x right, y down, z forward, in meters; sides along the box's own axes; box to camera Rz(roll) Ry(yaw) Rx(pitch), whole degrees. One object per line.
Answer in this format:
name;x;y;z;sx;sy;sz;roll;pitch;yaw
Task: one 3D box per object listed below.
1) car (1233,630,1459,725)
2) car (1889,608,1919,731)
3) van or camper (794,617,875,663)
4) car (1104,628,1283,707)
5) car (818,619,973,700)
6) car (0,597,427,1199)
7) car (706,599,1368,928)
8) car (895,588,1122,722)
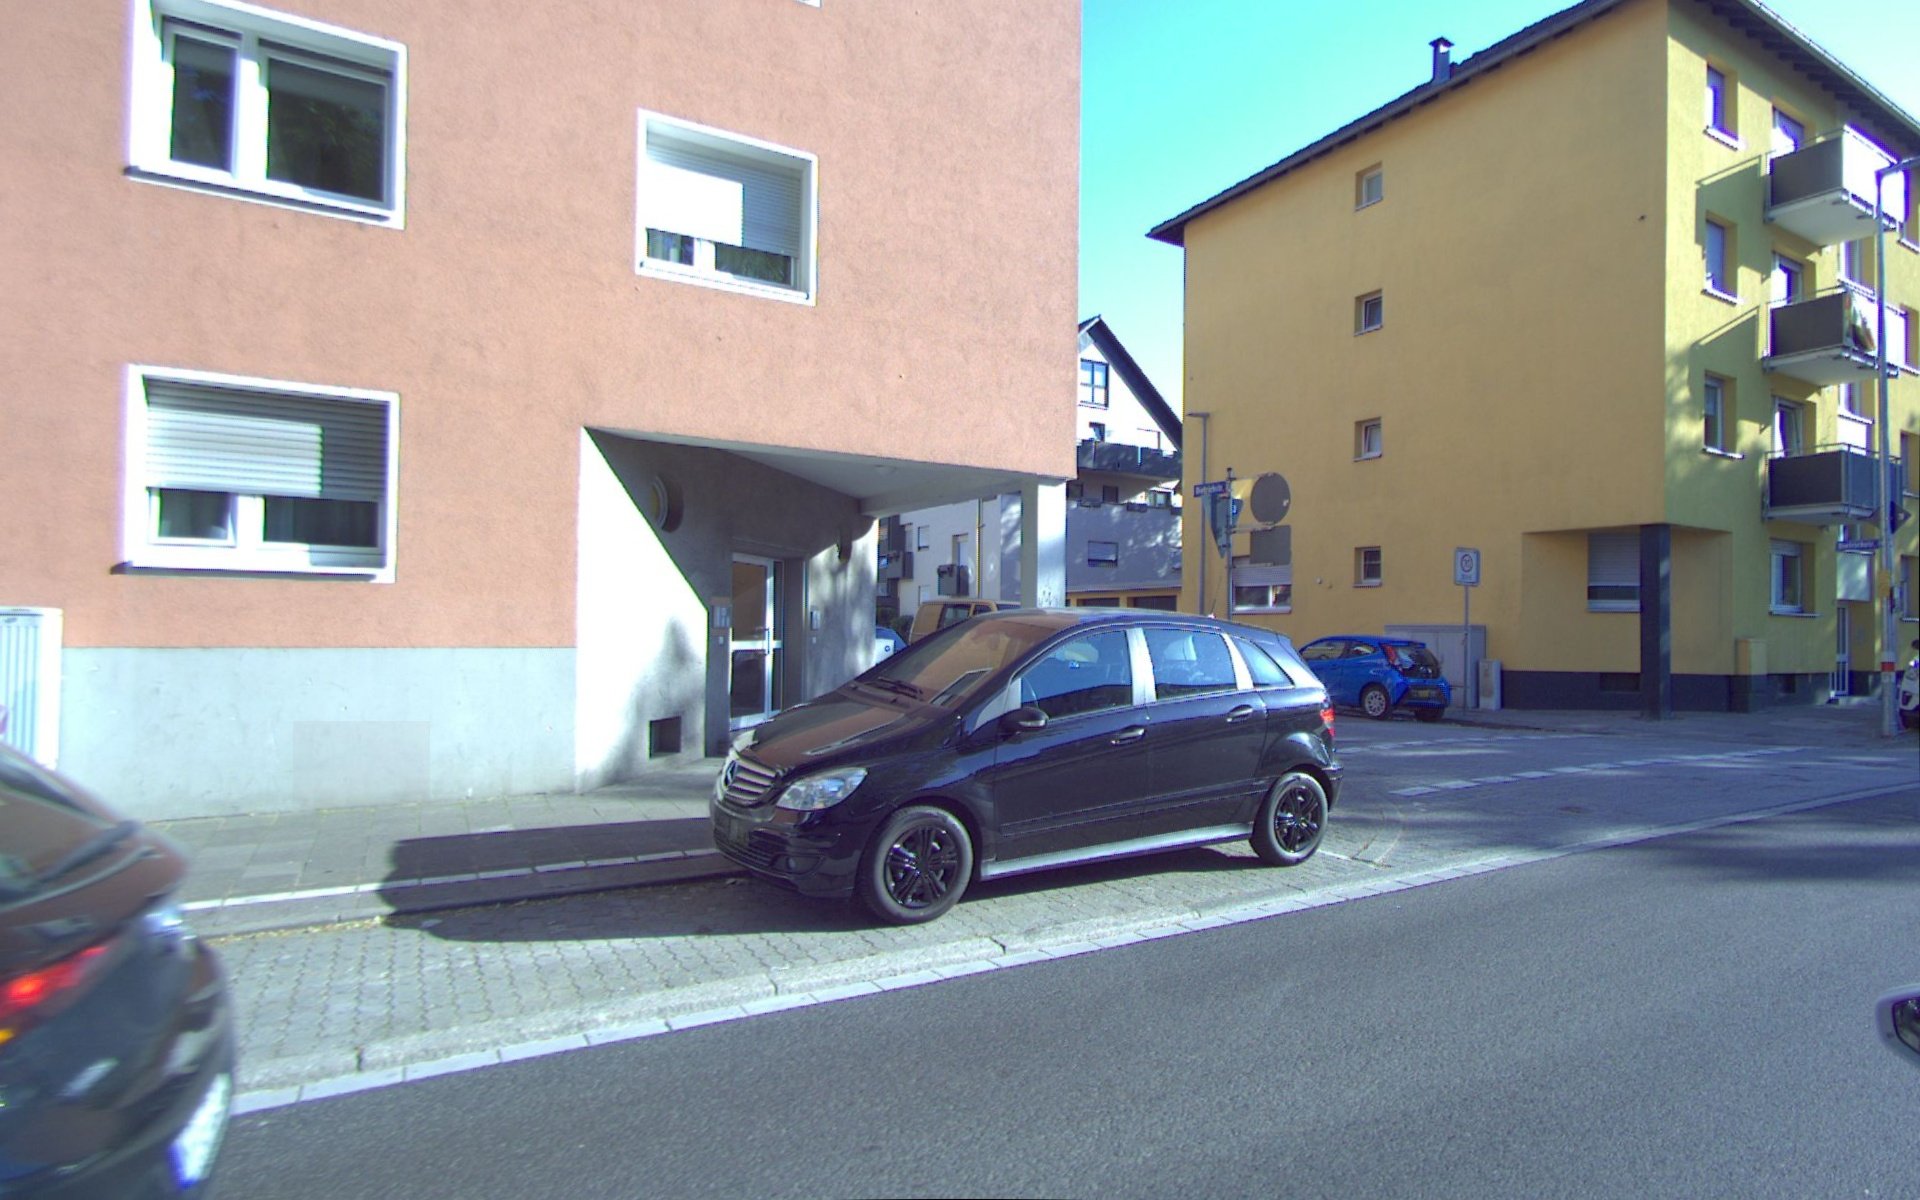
car;7.145;1.368;18.948;1.727;1.587;3.768;2;-2;-29
car;17.577;1.156;16.656;5.146;1.932;1.726;1;-1;-30
van or camper;-5.253;1.632;41.723;1.848;1.794;4.258;1;-2;-30
car;5.117;1.433;22.524;1.727;1.587;3.973;2;-2;-29
car;-1.582;1.282;22.892;1.895;1.647;4.432;2;-2;-28
car;-3.035;0.724;1.115;4.270;1.498;1.763;1;0;-30
car;0.567;0.821;6.454;3.971;1.544;1.670;1;0;-29
car;0.678;0.913;17.795;1.895;2.040;4.729;2;-2;-28
